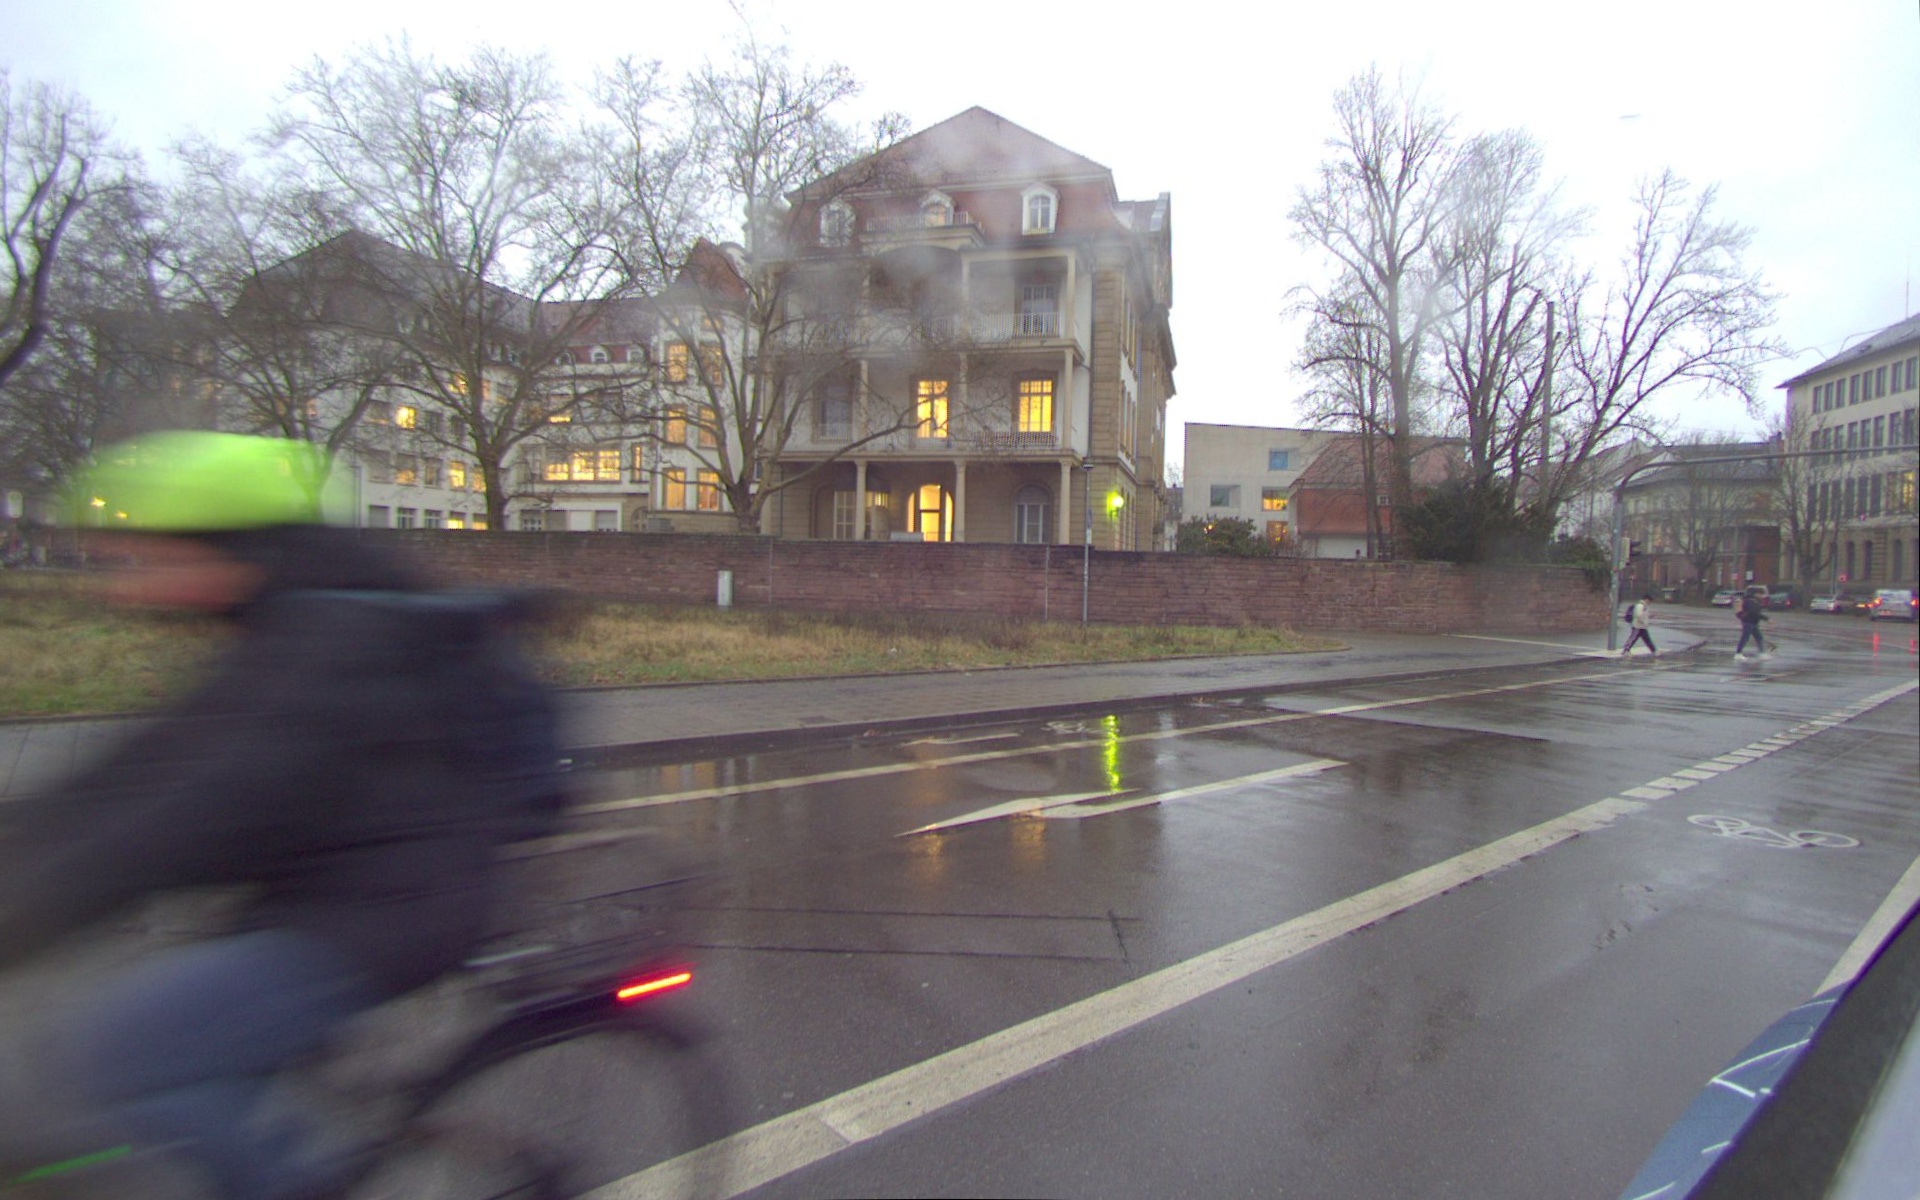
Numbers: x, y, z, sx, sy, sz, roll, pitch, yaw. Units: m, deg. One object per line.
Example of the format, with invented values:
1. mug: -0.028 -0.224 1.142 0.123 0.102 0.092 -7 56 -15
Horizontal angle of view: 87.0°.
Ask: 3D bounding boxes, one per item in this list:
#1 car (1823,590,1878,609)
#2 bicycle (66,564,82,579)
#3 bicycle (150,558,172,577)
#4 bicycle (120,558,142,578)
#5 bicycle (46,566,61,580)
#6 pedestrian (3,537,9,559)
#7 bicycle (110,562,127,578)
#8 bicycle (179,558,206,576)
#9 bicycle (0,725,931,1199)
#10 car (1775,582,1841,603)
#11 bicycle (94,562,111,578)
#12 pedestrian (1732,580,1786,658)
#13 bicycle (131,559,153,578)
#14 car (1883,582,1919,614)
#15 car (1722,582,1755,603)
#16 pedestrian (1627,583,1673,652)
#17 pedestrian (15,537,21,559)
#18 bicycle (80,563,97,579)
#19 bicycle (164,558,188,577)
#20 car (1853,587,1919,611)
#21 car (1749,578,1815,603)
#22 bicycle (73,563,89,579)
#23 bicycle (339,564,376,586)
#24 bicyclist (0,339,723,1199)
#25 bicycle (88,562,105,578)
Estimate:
1. car: 63.605 -0.076 72.300 3.568 1.322 1.712 -1 0 -25
2. bicycle: -47.893 -1.534 54.675 1.522 0.796 0.389 0 0 38
3. bicycle: -37.028 -1.494 46.886 1.480 0.849 0.346 0 0 32
4. bicycle: -39.906 -1.536 48.722 1.519 0.928 0.389 0 0 33
5. bicycle: -51.606 -1.543 57.593 1.522 0.796 0.389 0 0 38
6. pedestrian: -79.851 -4.390 84.741 0.312 1.814 0.462 1 2 -39
7. bicycle: -41.471 -1.472 49.877 1.599 0.796 0.388 0 0 41
8. bicycle: -34.207 -1.465 45.111 1.399 0.796 0.355 0 0 26
9. bicycle: -1.032 0.863 1.546 1.923 1.088 0.784 -1 0 -41
10. car: 64.703 -0.580 77.226 3.916 1.570 1.805 0 0 -13
11. bicycle: -43.128 -1.492 50.897 1.522 0.796 0.389 0 0 38
12. pedestrian: 20.624 0.476 26.137 0.996 1.924 0.664 4 3 40
13. bicycle: -38.623 -1.503 47.768 1.519 0.869 0.389 0 0 33
14. car: 57.002 -0.162 60.919 1.875 1.868 3.944 0 0 39
15. car: 66.484 -0.638 86.388 1.992 1.690 3.940 0 1 42
16. pedestrian: 18.179 0.454 26.670 0.662 1.744 0.798 0 3 -42
17. pedestrian: -78.900 -4.380 84.733 0.312 1.814 0.462 1 2 -39
18. bicycle: -45.439 -1.528 52.742 1.522 0.796 0.389 0 0 38
19. bicycle: -35.548 -1.465 45.860 1.519 0.796 0.389 0 0 33
20. car: 61.966 -0.055 67.006 3.927 1.570 1.800 0 0 4
21. car: 64.984 -0.785 80.023 3.916 1.924 2.052 0 0 -13
22. bicycle: -46.669 -1.531 53.720 1.522 0.796 0.389 0 0 38
23. bicycle: -23.382 -0.985 39.272 1.366 0.835 0.392 0 0 14
24. bicyclist: -1.052 0.456 1.547 1.114 1.471 0.784 0 0 -41
25. bicycle: -44.176 -1.526 51.768 1.522 0.796 0.389 0 0 38
